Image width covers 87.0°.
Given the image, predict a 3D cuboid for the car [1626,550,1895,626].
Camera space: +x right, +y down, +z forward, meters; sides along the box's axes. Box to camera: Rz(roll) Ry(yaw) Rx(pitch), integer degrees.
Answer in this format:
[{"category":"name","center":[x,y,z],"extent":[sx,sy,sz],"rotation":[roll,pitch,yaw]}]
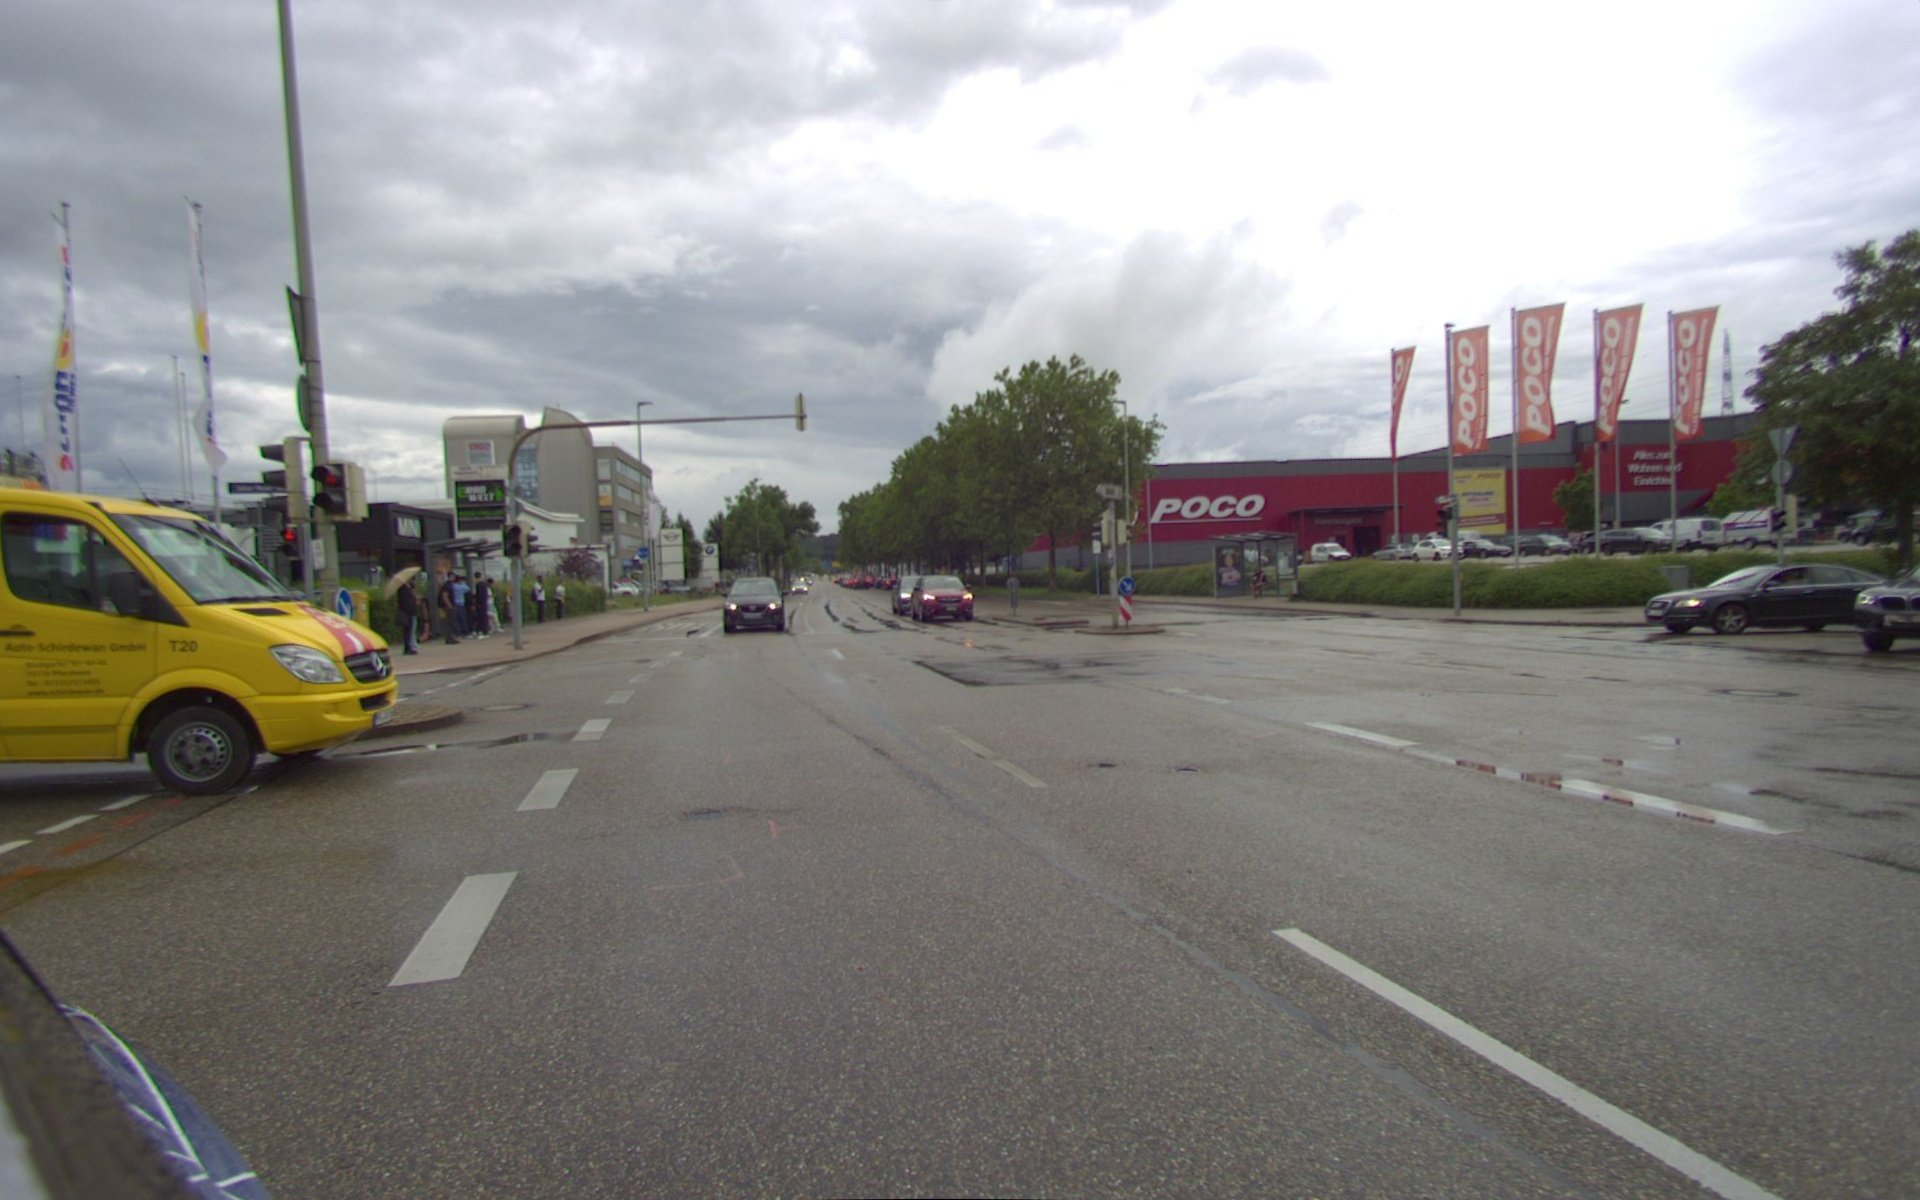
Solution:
[{"category":"car","center":[16.466,-0.241,21.014],"extent":[3.957,1.414,1.783],"rotation":[-1,1,11]}]

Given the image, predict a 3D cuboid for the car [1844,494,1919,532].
[{"category":"car","center":[46.401,-4.284,50.059],"extent":[1.646,1.657,3.834],"rotation":[-2,1,-9]}]

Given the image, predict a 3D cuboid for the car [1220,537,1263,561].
[{"category":"car","center":[21.952,-3.955,79.095],"extent":[1.670,1.657,3.971],"rotation":[-2,1,-9]}]

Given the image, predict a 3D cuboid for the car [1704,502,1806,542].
[{"category":"car","center":[53.398,-5.168,68.114],"extent":[1.797,2.320,5.659],"rotation":[-2,1,-9]}]

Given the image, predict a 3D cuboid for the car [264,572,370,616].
[{"category":"car","center":[-31.528,-0.311,49.720],"extent":[3.940,2.028,1.913],"rotation":[-2,1,-4]}]

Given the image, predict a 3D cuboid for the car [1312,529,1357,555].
[{"category":"car","center":[31.311,-4.850,84.757],"extent":[1.762,1.940,3.758],"rotation":[-2,1,-11]}]

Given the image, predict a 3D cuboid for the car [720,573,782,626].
[{"category":"car","center":[-6.677,-0.041,32.028],"extent":[1.726,1.475,4.011],"rotation":[-3,1,-13]}]

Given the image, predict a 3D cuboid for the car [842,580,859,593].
[{"category":"car","center":[-13.779,-1.709,127.528],"extent":[1.814,1.600,4.008],"rotation":[-2,1,-10]}]

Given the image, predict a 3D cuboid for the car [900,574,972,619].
[{"category":"car","center":[-0.909,-0.133,35.552],"extent":[1.690,1.475,4.011],"rotation":[0,1,-13]}]

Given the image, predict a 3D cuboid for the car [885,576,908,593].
[{"category":"car","center":[-6.265,-1.518,99.801],"extent":[1.814,1.600,4.008],"rotation":[-2,1,-10]}]

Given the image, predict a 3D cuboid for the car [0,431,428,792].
[{"category":"car","center":[-7.260,0.085,8.005],"extent":[4.932,2.492,2.252],"rotation":[-2,1,-12]}]

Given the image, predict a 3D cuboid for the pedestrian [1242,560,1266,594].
[{"category":"pedestrian","center":[12.778,-0.985,43.970],"extent":[0.768,1.442,0.643],"rotation":[-1,1,-13]}]

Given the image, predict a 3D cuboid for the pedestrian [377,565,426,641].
[{"category":"pedestrian","center":[-13.349,0.060,24.212],"extent":[0.697,1.788,0.805],"rotation":[1,2,40]}]

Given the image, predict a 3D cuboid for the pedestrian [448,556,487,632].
[{"category":"pedestrian","center":[-13.533,-0.162,27.815],"extent":[0.730,2.029,0.698],"rotation":[-2,1,-6]}]

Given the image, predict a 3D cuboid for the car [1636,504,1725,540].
[{"category":"car","center":[38.652,-4.162,54.400],"extent":[1.606,1.657,3.834],"rotation":[-2,1,-9]}]

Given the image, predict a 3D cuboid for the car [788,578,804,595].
[{"category":"car","center":[-17.383,-1.406,107.154],"extent":[1.595,1.741,3.687],"rotation":[-2,1,-11]}]

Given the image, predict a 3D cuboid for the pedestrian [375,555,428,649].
[{"category":"pedestrian","center":[-12.410,0.036,22.481],"extent":[0.697,2.028,0.805],"rotation":[0,2,40]}]

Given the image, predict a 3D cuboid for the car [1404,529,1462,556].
[{"category":"car","center":[32.902,-3.964,70.480],"extent":[1.646,1.657,3.971],"rotation":[-2,1,-9]}]

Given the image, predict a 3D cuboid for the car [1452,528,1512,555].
[{"category":"car","center":[36.048,-4.029,69.968],"extent":[1.646,1.657,3.971],"rotation":[-2,1,-9]}]

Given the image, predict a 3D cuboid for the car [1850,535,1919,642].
[{"category":"car","center":[16.155,-0.246,15.456],"extent":[4.513,1.564,1.908],"rotation":[-2,1,-20]}]

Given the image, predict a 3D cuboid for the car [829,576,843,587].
[{"category":"car","center":[-18.731,-2.839,152.627],"extent":[1.814,1.600,4.008],"rotation":[-2,1,-10]}]

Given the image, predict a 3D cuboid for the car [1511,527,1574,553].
[{"category":"car","center":[40.589,-4.168,70.609],"extent":[1.646,1.657,3.971],"rotation":[-2,1,-9]}]

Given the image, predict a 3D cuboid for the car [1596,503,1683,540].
[{"category":"car","center":[35.851,-4.117,53.519],"extent":[1.646,1.657,3.834],"rotation":[-2,1,-9]}]

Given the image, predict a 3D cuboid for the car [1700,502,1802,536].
[{"category":"car","center":[39.408,-4.021,50.524],"extent":[1.646,1.391,3.917],"rotation":[-2,1,-9]}]

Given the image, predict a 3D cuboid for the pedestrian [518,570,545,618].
[{"category":"pedestrian","center":[-15.735,-0.234,37.189],"extent":[0.690,1.724,0.698],"rotation":[-2,1,-6]}]

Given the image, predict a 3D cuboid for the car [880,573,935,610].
[{"category":"car","center":[-2.216,-0.384,41.594],"extent":[1.670,1.407,3.712],"rotation":[-2,2,-12]}]

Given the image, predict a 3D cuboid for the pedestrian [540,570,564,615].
[{"category":"pedestrian","center":[-16.035,-0.293,39.780],"extent":[0.703,1.724,0.698],"rotation":[-2,1,-6]}]

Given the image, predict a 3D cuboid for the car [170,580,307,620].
[{"category":"car","center":[-30.376,-0.033,42.730],"extent":[4.306,1.509,1.900],"rotation":[-2,1,-7]}]

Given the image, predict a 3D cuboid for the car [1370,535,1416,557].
[{"category":"car","center":[36.554,-4.537,85.553],"extent":[1.670,1.657,3.971],"rotation":[-2,1,-9]}]

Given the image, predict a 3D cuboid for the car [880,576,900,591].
[{"category":"car","center":[-7.794,-1.790,112.339],"extent":[1.814,1.600,4.008],"rotation":[-2,1,-10]}]

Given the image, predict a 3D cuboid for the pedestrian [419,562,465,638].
[{"category":"pedestrian","center":[-13.079,-0.010,25.567],"extent":[0.803,1.870,0.698],"rotation":[0,2,-6]}]
